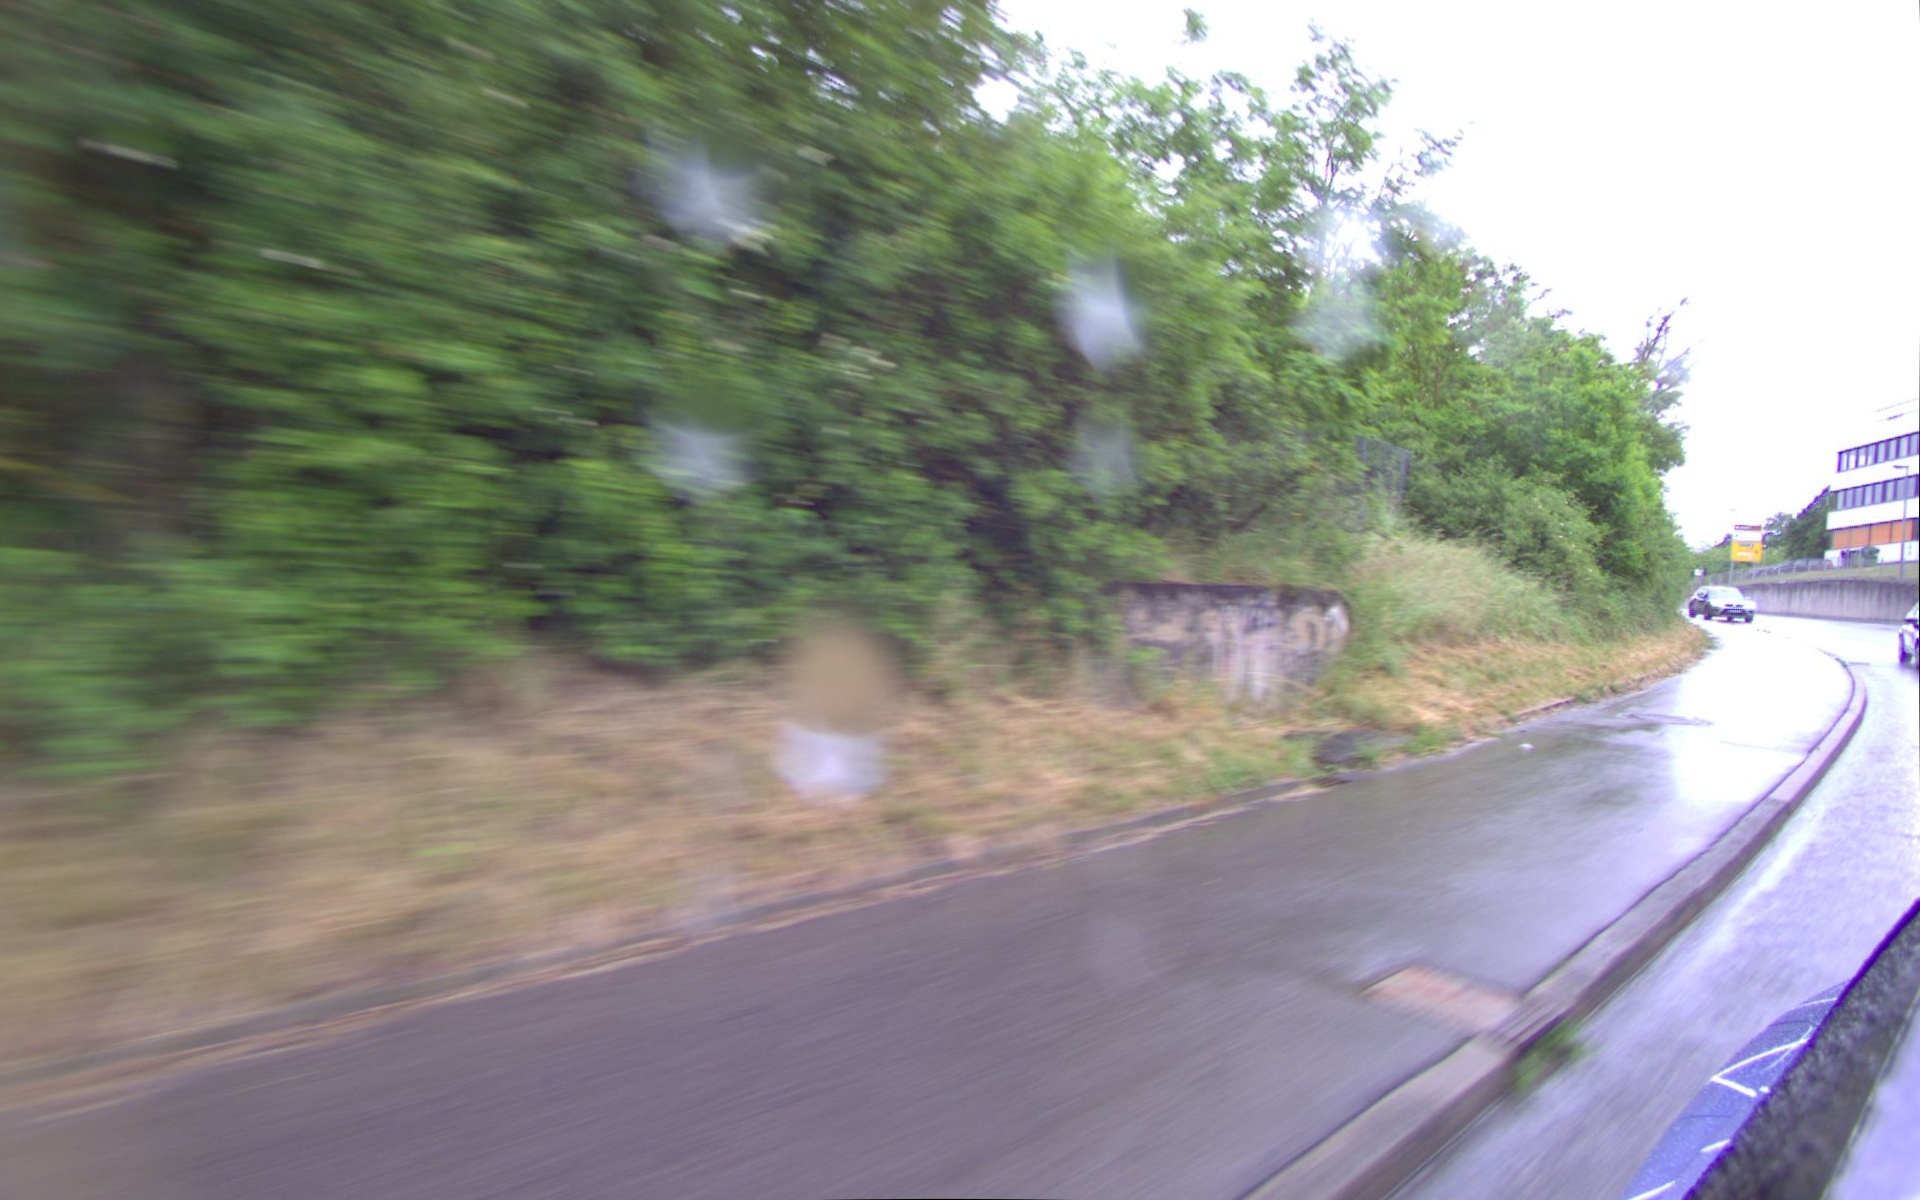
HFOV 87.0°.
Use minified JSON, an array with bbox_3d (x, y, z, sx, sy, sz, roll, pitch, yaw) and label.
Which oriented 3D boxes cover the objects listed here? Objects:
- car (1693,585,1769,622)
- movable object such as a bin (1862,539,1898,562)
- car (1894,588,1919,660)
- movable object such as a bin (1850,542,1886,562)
[{"bbox_3d":[35.197,0.126,46.308,1.858,1.458,4.338,6,3,26],"label":"car"},{"bbox_3d":[56.724,-3.050,62.428,1.231,1.363,1.209,3,2,22],"label":"movable object such as a bin"},{"bbox_3d":[20.677,0.498,20.625,1.863,1.459,4.321,0,-1,36],"label":"car"},{"bbox_3d":[57.176,-3.018,63.736,1.230,1.226,1.334,3,3,21],"label":"movable object such as a bin"}]
